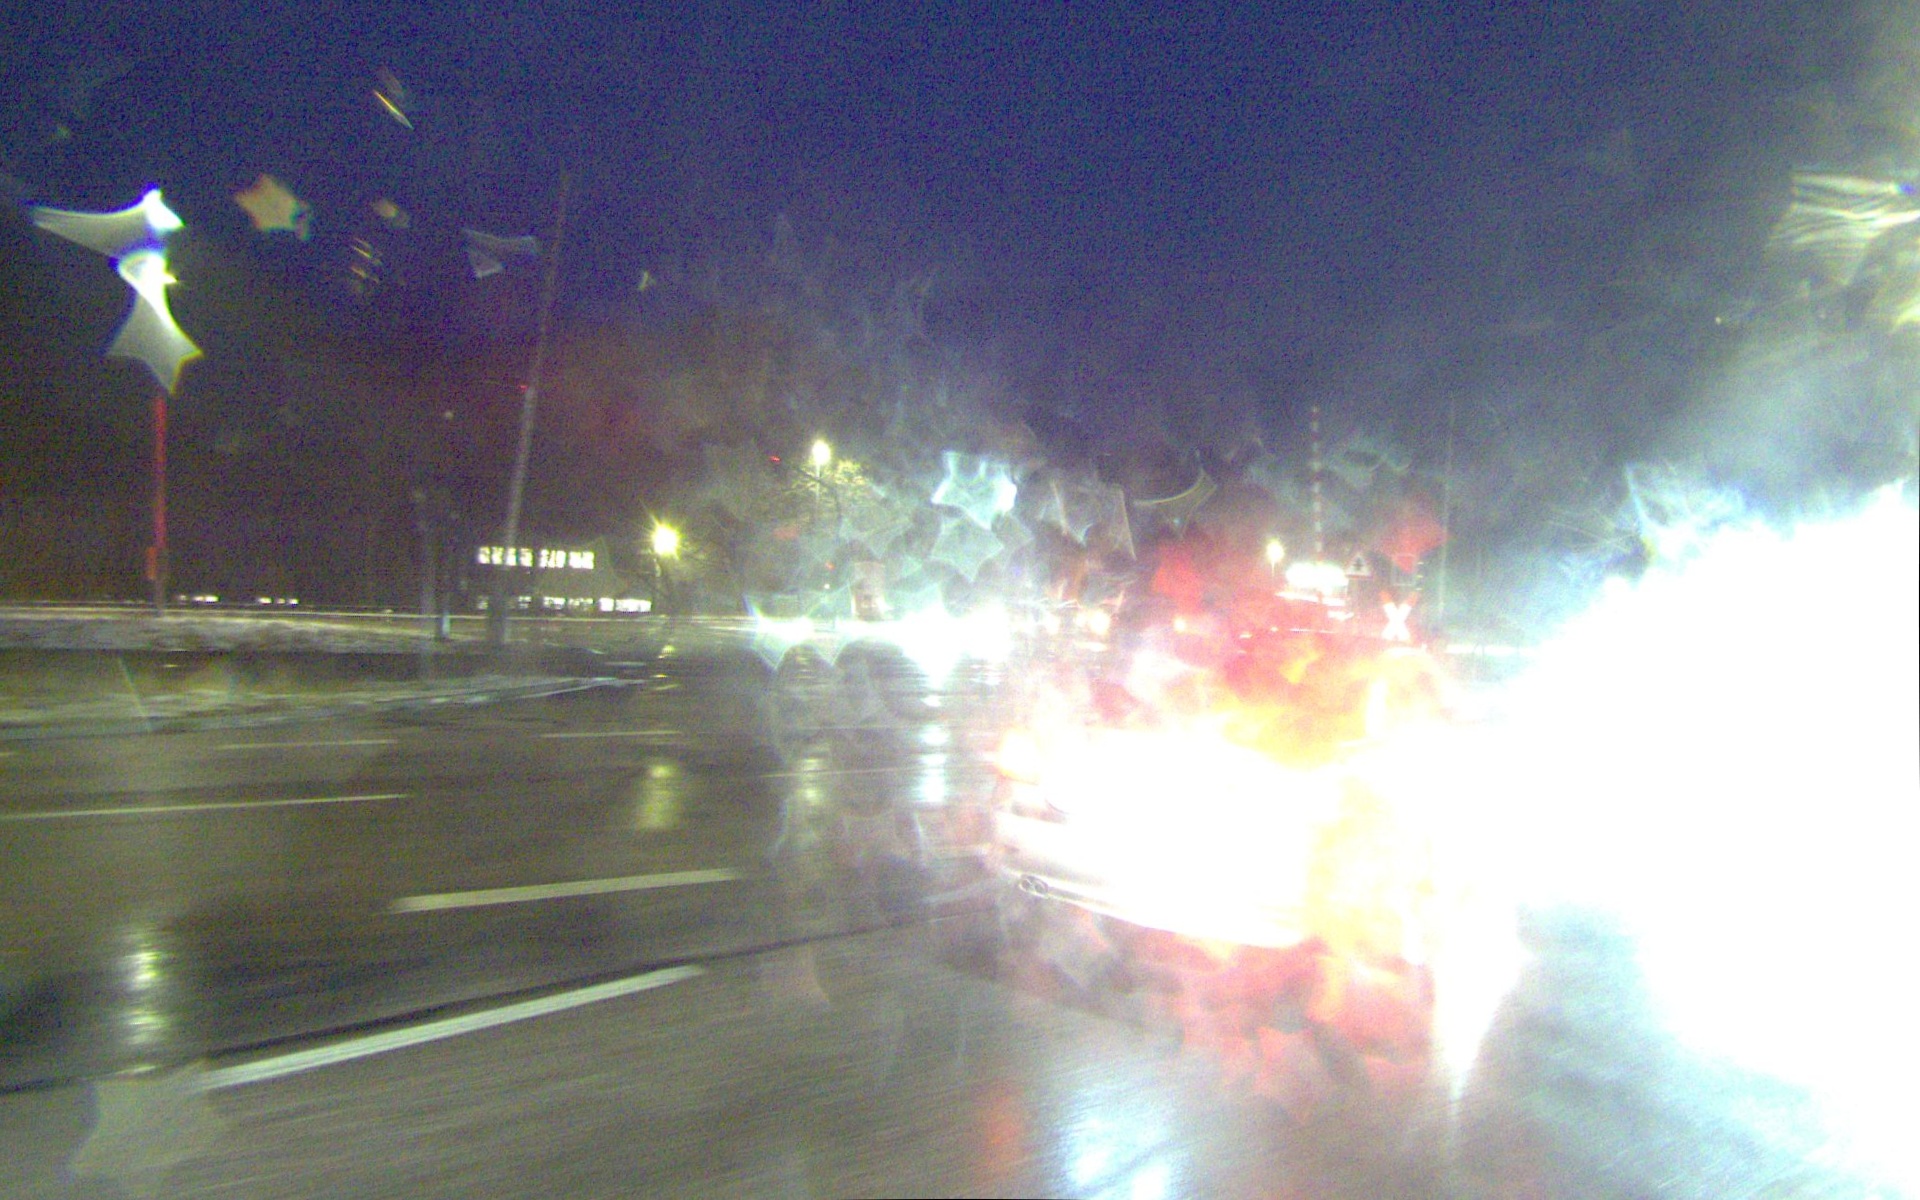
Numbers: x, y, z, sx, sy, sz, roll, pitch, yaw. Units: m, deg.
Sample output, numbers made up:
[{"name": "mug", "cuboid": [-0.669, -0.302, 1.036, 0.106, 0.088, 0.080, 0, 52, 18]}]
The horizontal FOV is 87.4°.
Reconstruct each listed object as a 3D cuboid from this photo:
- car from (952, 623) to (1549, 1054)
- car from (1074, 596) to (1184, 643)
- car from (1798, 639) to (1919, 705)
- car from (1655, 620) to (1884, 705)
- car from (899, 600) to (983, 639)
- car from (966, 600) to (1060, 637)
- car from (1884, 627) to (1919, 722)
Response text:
[{"name": "car", "cuboid": [2.012, 0.885, 5.678, 1.640, 1.383, 4.486, 2, 0, 38]}, {"name": "car", "cuboid": [9.179, 1.073, 54.330, 5.950, 2.338, 1.984, 2, 0, -30]}, {"name": "car", "cuboid": [23.157, 1.796, 25.471, 3.560, 1.472, 1.813, 3, 0, -31]}, {"name": "car", "cuboid": [17.717, 1.308, 21.940, 5.102, 1.577, 2.346, 2, 0, -32]}, {"name": "car", "cuboid": [-0.794, 0.855, 44.472, 1.964, 1.613, 3.993, 2, 0, 29]}, {"name": "car", "cuboid": [2.629, 0.908, 49.561, 4.403, 1.715, 1.834, 2, 0, -34]}, {"name": "car", "cuboid": [19.918, 1.477, 19.277, 4.958, 1.720, 1.982, 3, -1, -32]}]
